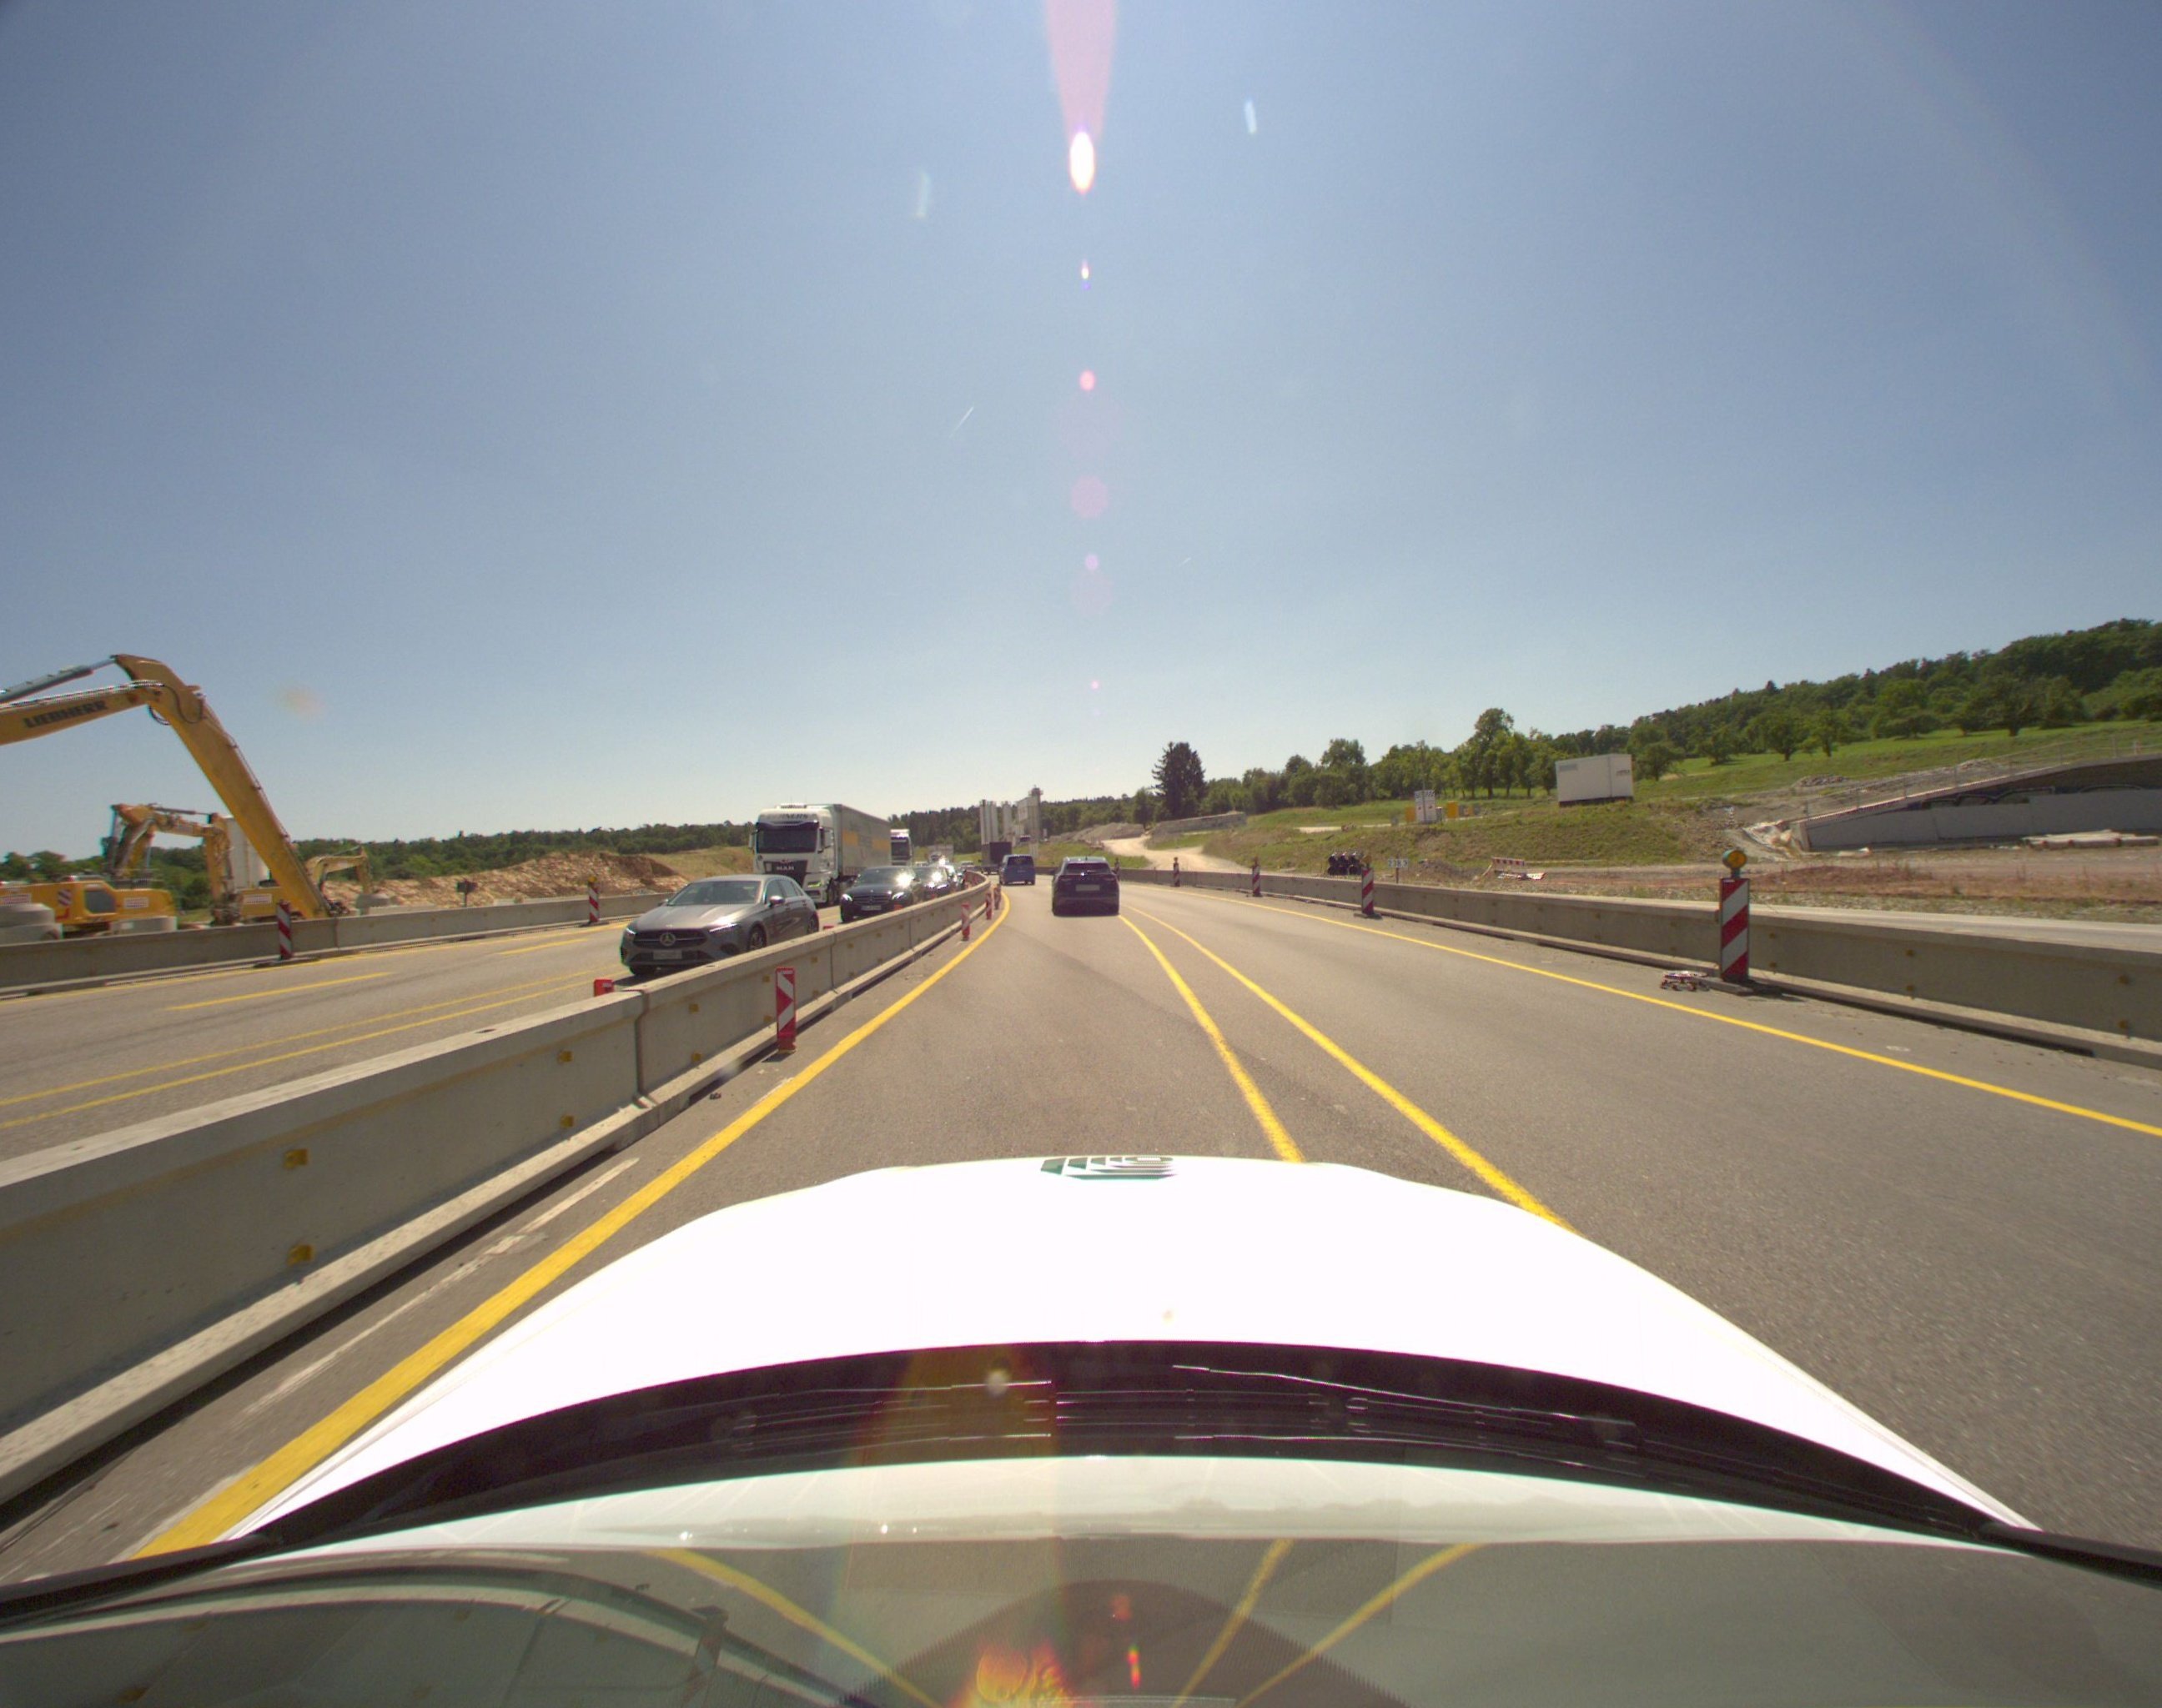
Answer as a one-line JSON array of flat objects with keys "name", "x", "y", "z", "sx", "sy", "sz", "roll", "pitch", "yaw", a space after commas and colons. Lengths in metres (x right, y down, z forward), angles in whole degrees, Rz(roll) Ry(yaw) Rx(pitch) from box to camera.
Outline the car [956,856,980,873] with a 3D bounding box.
[{"name": "car", "x": -11.482, "y": 1.008, "z": 82.676, "sx": 2.047, "sy": 1.526, "sz": 5.046, "roll": -4, "pitch": 0, "yaw": -11}]

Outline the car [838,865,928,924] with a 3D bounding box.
[{"name": "car", "x": -5.489, "y": 1.081, "z": 23.091, "sx": 1.722, "sy": 1.408, "sz": 4.124, "roll": -2, "pitch": 0, "yaw": -4}]

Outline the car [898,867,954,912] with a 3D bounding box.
[{"name": "car", "x": -5.754, "y": 1.265, "z": 30.683, "sx": 1.654, "sy": 1.453, "sz": 4.240, "roll": -2, "pitch": 0, "yaw": -6}]

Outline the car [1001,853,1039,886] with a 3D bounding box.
[{"name": "car", "x": -3.900, "y": 0.924, "z": 51.124, "sx": 1.993, "sy": 1.844, "sz": 3.988, "roll": -3, "pitch": 1, "yaw": -9}]

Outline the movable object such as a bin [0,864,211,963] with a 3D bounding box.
[{"name": "movable object such as a bin", "x": -36.581, "y": 2.091, "z": 30.012, "sx": 3.665, "sy": 3.025, "sz": 4.976, "roll": -4, "pitch": 2, "yaw": -10}]

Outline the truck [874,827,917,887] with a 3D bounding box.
[{"name": "truck", "x": -13.293, "y": 0.218, "z": 58.554, "sx": 2.702, "sy": 3.969, "sz": 6.173, "roll": -3, "pitch": 0, "yaw": -12}]

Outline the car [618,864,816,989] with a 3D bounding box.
[{"name": "car", "x": -5.610, "y": 1.014, "z": 13.101, "sx": 1.506, "sy": 1.604, "sz": 3.949, "roll": -1, "pitch": 0, "yaw": -2}]

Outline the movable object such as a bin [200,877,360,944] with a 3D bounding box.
[{"name": "movable object such as a bin", "x": -45.960, "y": 3.128, "z": 47.085, "sx": 3.849, "sy": 3.049, "sz": 5.986, "roll": -4, "pitch": 2, "yaw": -14}]

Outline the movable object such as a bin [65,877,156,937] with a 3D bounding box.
[{"name": "movable object such as a bin", "x": -54.703, "y": 2.938, "z": 46.003, "sx": 2.005, "sy": 3.126, "sz": 3.721, "roll": 1, "pitch": 0, "yaw": -29}]

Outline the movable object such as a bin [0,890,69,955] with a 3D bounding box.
[{"name": "movable object such as a bin", "x": -58.049, "y": 3.629, "z": 43.893, "sx": 2.436, "sy": 3.126, "sz": 5.431, "roll": 0, "pitch": 0, "yaw": -29}]

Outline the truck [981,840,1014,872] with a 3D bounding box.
[{"name": "truck", "x": -8.613, "y": 0.204, "z": 83.776, "sx": 2.674, "sy": 2.945, "sz": 5.599, "roll": -4, "pitch": 0, "yaw": -11}]

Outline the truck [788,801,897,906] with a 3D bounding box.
[{"name": "truck", "x": -11.381, "y": -0.033, "z": 40.266, "sx": 2.770, "sy": 4.277, "sz": 11.757, "roll": -3, "pitch": 0, "yaw": -5}]

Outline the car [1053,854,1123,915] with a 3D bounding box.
[{"name": "car", "x": 0.219, "y": 0.828, "z": 23.812, "sx": 1.836, "sy": 1.582, "sz": 4.000, "roll": -1, "pitch": 0, "yaw": 1}]

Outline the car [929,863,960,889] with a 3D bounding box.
[{"name": "car", "x": -8.521, "y": 1.336, "z": 50.780, "sx": 1.735, "sy": 1.416, "sz": 4.780, "roll": -2, "pitch": 0, "yaw": -10}]

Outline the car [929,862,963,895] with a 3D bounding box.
[{"name": "car", "x": -7.242, "y": 1.282, "z": 43.895, "sx": 1.677, "sy": 1.544, "sz": 4.106, "roll": 0, "pitch": 1, "yaw": -9}]

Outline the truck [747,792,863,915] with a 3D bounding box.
[{"name": "truck", "x": -10.669, "y": -0.022, "z": 32.190, "sx": 2.767, "sy": 4.259, "sz": 6.188, "roll": -3, "pitch": 0, "yaw": -5}]

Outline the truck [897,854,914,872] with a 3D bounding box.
[{"name": "truck", "x": -42.554, "y": 2.110, "z": 196.946, "sx": 3.482, "sy": 4.220, "sz": 10.321, "roll": -1, "pitch": 0, "yaw": -15}]

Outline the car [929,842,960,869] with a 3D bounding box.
[{"name": "car", "x": -21.572, "y": 0.234, "z": 128.179, "sx": 3.445, "sy": 4.101, "sz": 9.142, "roll": 0, "pitch": 0, "yaw": -18}]

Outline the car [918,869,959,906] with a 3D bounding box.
[{"name": "car", "x": -6.422, "y": 1.484, "z": 37.090, "sx": 1.677, "sy": 1.444, "sz": 4.539, "roll": -2, "pitch": 0, "yaw": -9}]
